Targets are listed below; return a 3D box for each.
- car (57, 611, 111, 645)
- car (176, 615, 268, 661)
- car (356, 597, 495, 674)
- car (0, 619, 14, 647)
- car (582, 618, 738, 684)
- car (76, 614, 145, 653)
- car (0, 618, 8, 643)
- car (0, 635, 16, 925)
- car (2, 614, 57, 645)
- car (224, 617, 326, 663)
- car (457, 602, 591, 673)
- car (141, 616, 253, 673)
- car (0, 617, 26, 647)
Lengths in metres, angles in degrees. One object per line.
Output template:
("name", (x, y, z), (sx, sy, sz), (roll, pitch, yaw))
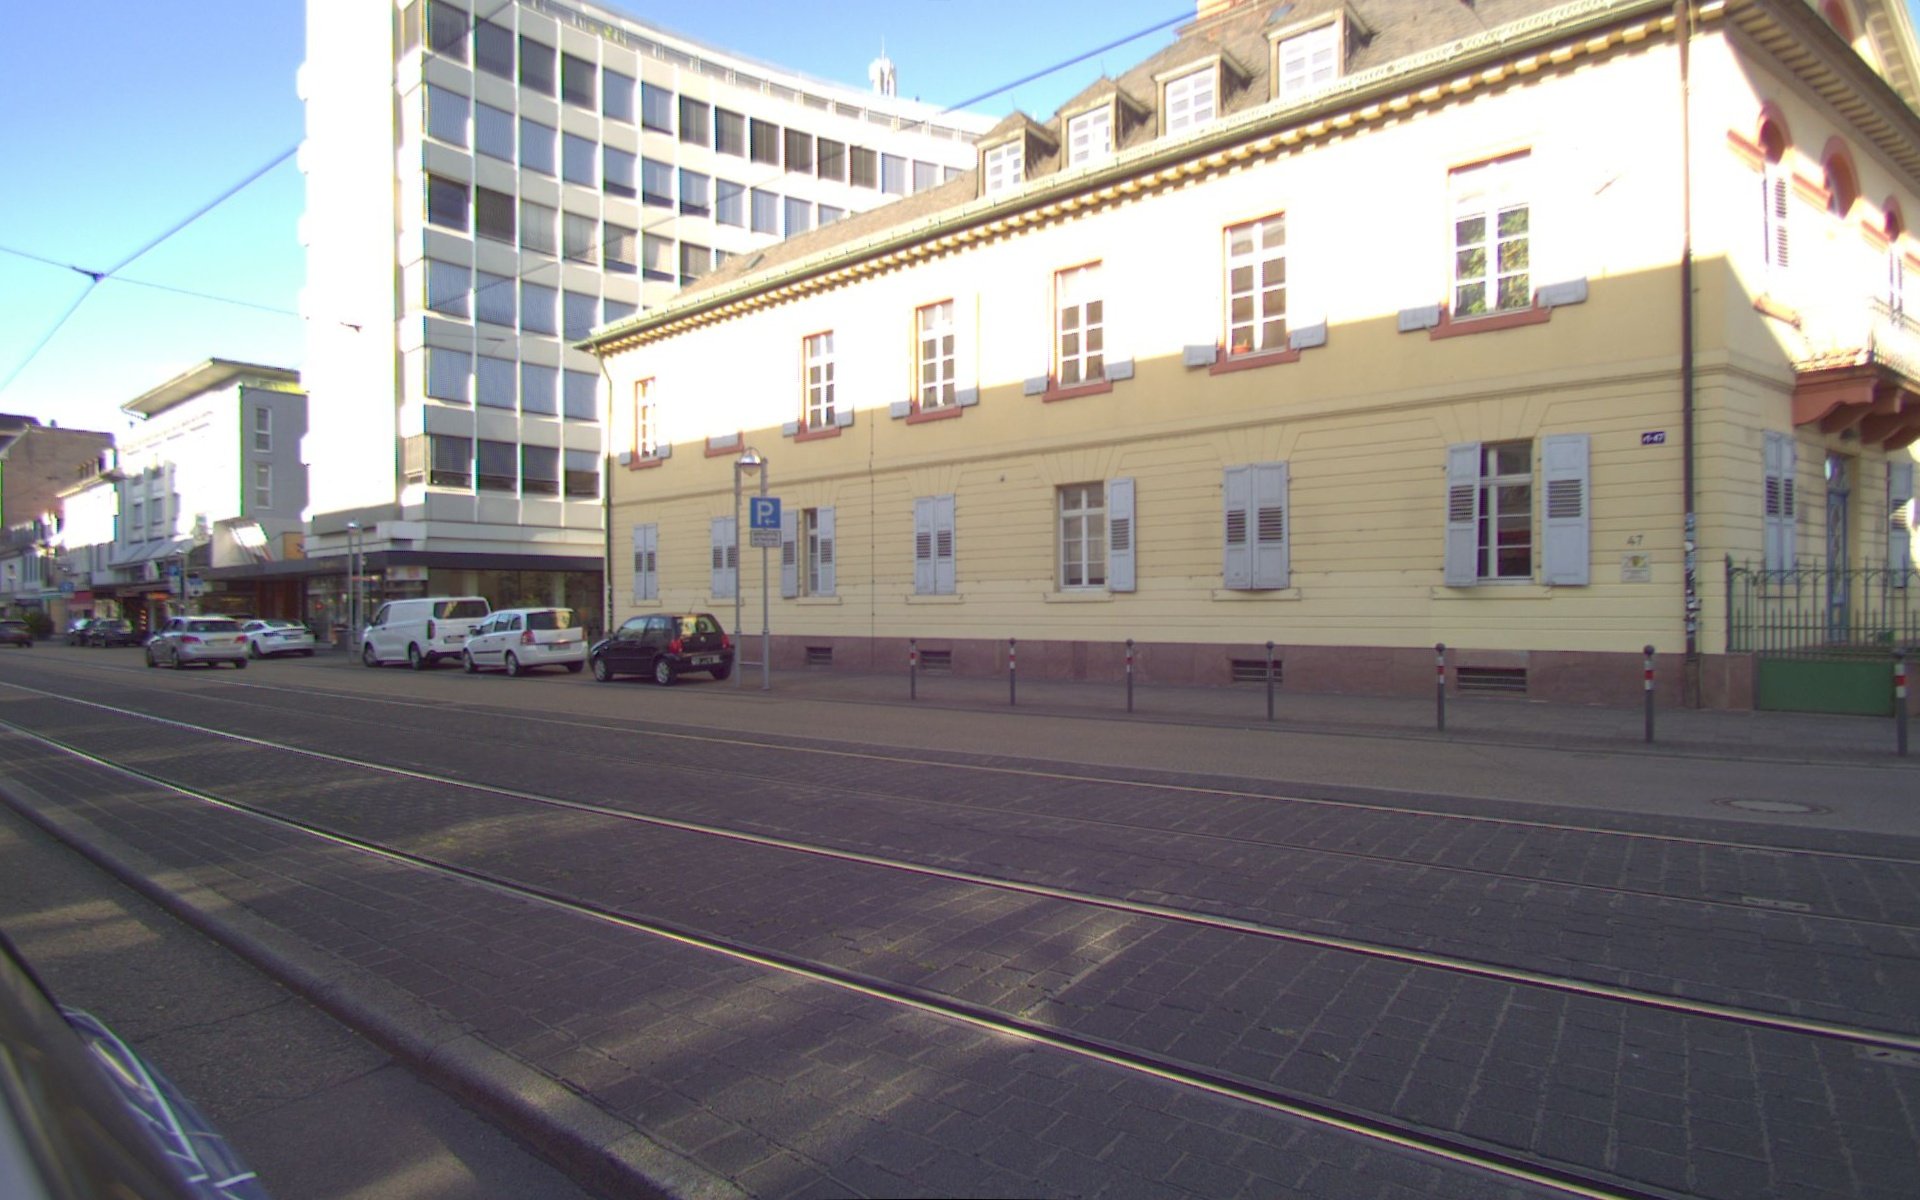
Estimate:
("car", (-50.103, 1.574, 57.867), (3.997, 1.896, 1.767), (-1, 0, 40))
("car", (-29.909, 1.492, 40.975), (4.103, 1.717, 1.975), (-1, 0, 38))
("car", (-15.354, 0.971, 28.959), (4.619, 2.029, 2.014), (-1, -1, 41))
("car", (-71.533, 2.423, 74.771), (3.998, 2.029, 1.973), (-1, -1, 41))
("car", (-6.393, 1.026, 21.455), (3.210, 1.263, 1.667), (-1, 0, 39))
("car", (-43.709, 1.673, 52.046), (3.995, 1.874, 1.974), (-1, 0, 38))
("car", (-78.769, 2.491, 81.854), (3.995, 2.029, 1.974), (-1, 0, 38))
("car", (-6.750, 0.898, 5.358), (3.992, 1.393, 1.862), (-1, 0, 36))
("car", (-62.774, 1.975, 68.272), (3.996, 2.058, 2.172), (-1, -1, 39))
("car", (-25.560, 1.445, 37.719), (4.369, 1.541, 1.974), (-1, 0, 39))
("car", (-10.989, 0.892, 25.381), (4.005, 1.621, 1.619), (-1, 0, 43))
("car", (-23.075, 1.310, 30.557), (3.994, 1.609, 1.739), (-1, -1, 38))
("car", (-50.944, 1.679, 53.633), (4.001, 1.519, 1.937), (-1, 0, 44))
